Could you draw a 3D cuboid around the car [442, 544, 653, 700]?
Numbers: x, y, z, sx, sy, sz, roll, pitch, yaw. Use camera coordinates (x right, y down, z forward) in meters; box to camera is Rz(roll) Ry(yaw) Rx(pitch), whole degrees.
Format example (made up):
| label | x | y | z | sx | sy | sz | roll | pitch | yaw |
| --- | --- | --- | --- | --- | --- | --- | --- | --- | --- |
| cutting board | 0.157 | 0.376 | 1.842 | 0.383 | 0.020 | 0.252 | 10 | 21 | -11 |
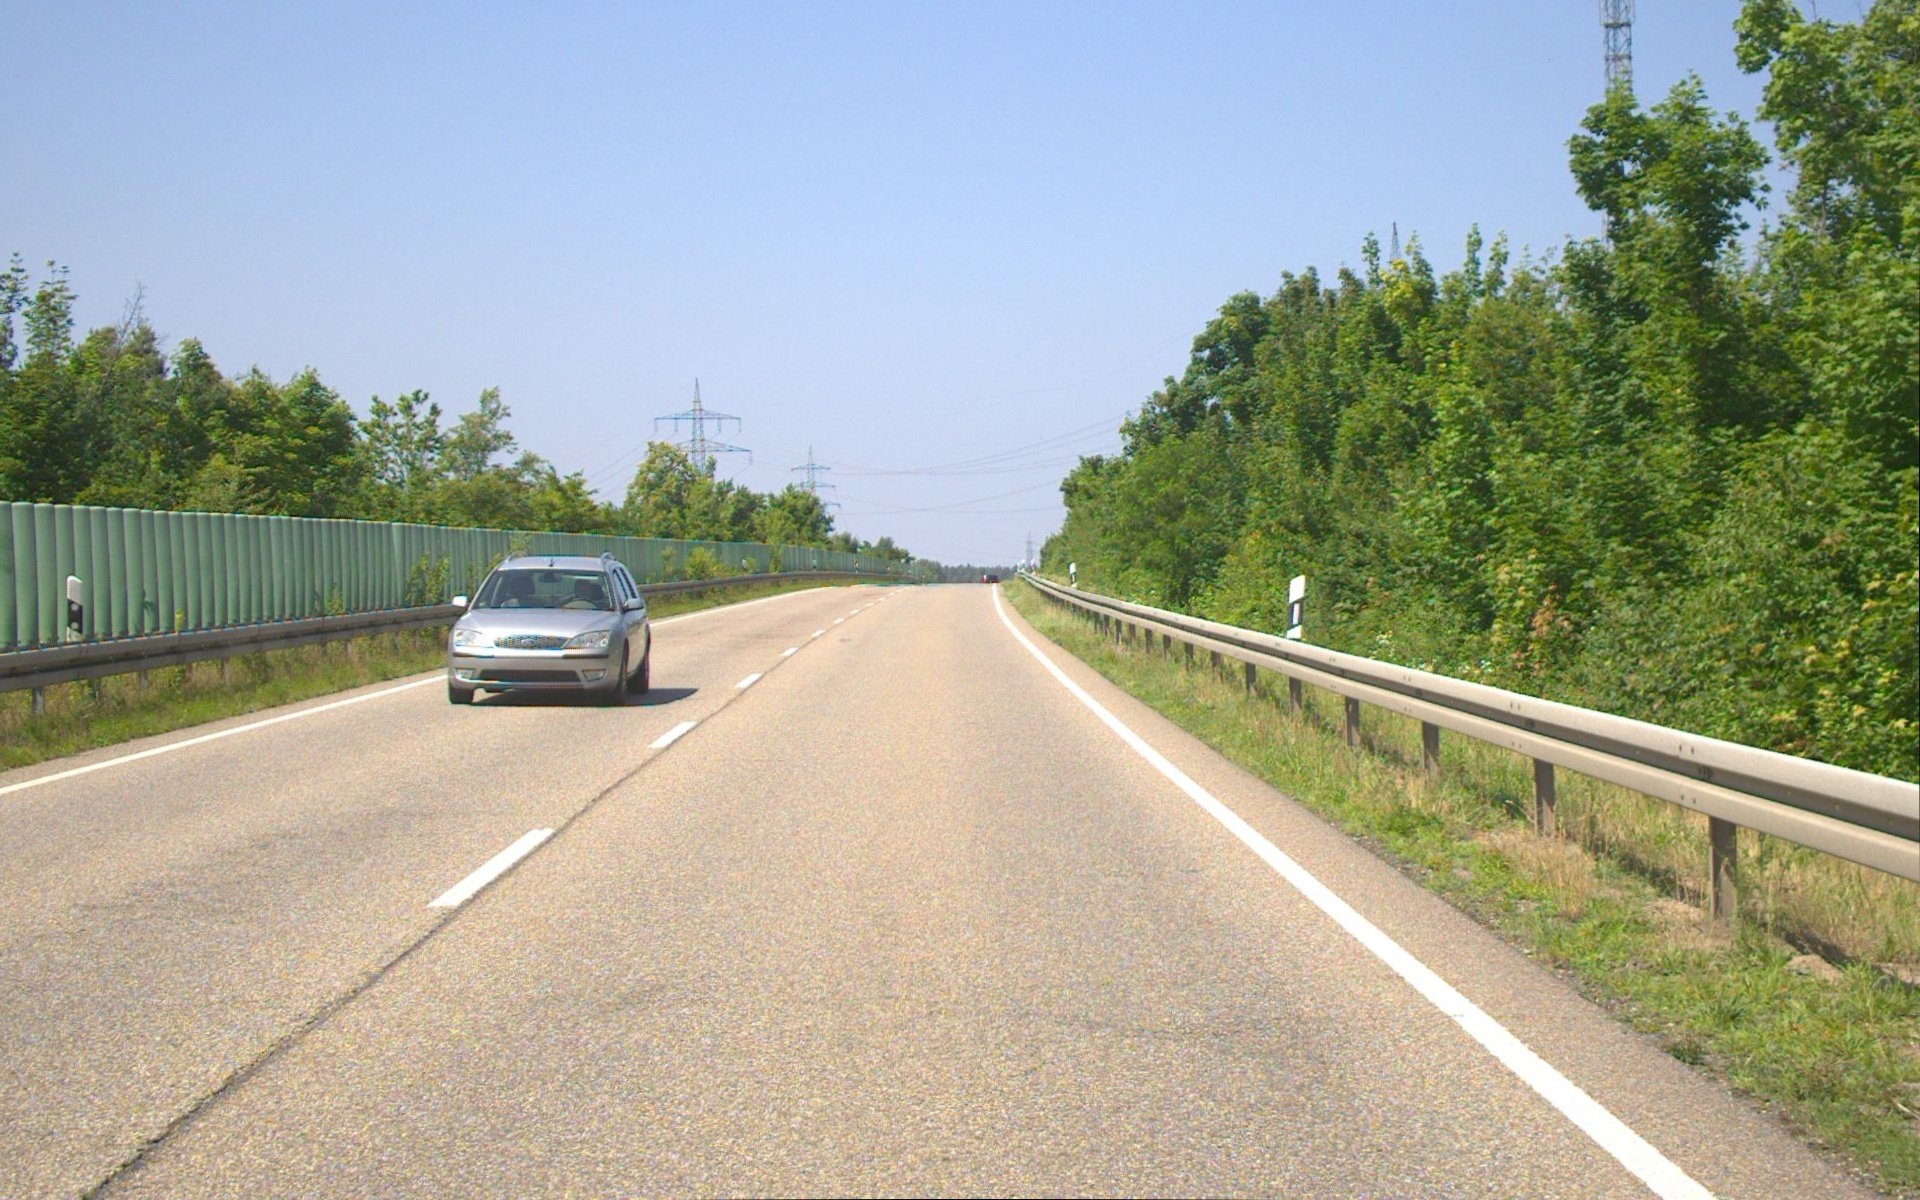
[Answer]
| label | x | y | z | sx | sy | sz | roll | pitch | yaw |
| --- | --- | --- | --- | --- | --- | --- | --- | --- | --- |
| car | -4.163 | 0.179 | 35.236 | 1.720 | 1.496 | 4.248 | 0 | 1 | -1 |
